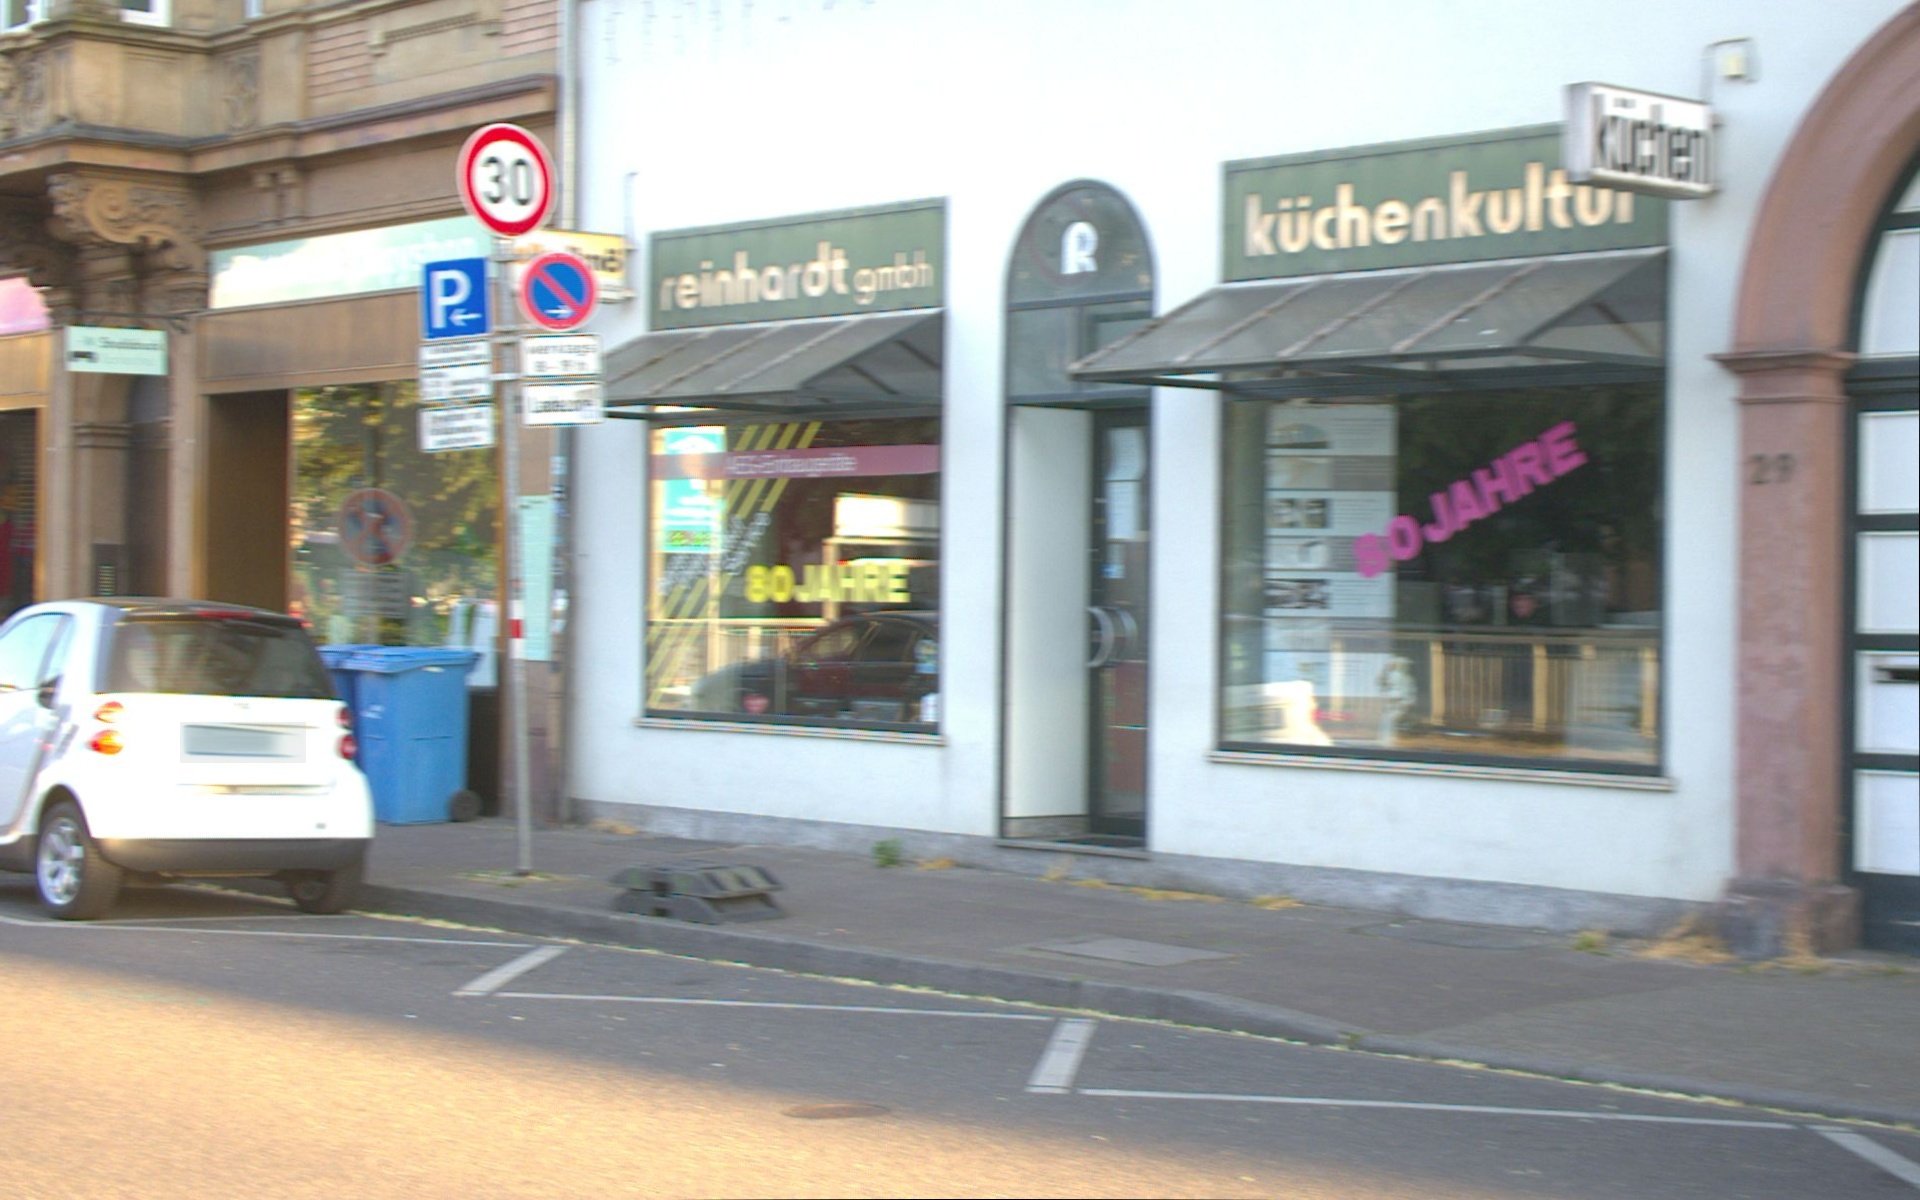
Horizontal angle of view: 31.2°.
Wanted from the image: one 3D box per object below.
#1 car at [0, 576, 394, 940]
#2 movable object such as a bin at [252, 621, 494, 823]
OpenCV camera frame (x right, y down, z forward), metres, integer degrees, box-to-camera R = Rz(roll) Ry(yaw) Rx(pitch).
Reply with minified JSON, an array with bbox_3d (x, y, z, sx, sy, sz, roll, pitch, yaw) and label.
[{"bbox_3d":[-4.777,0.719,18.019,1.700,1.579,3.998,1,2,-41],"label":"car"},{"bbox_3d":[-3.674,0.743,21.476,0.866,1.182,1.397,1,0,-41],"label":"movable object such as a bin"}]
